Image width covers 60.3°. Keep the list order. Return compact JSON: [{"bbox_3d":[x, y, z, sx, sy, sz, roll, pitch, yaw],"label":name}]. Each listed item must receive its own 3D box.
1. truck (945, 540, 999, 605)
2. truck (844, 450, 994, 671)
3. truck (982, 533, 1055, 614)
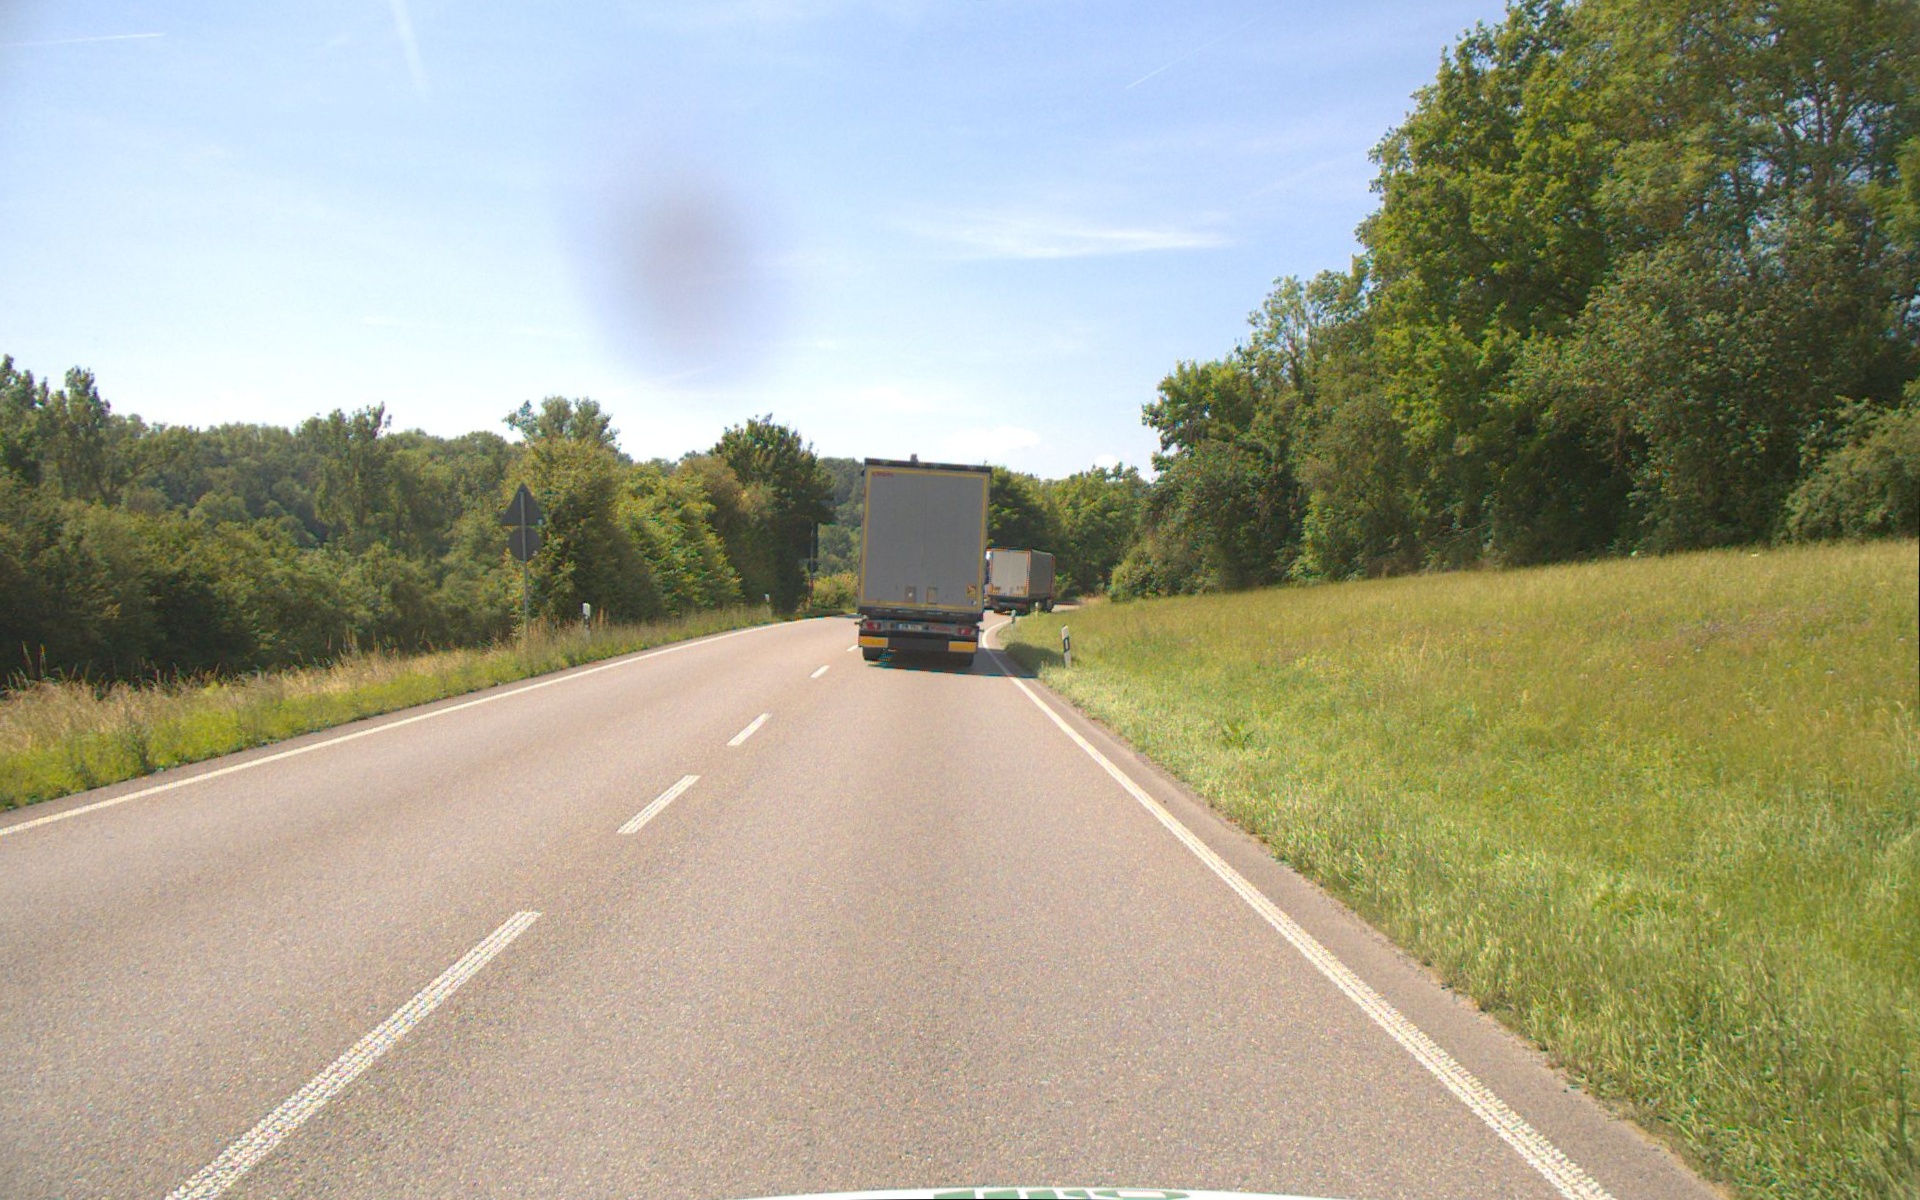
[{"bbox_3d":[0.890,-1.854,115.304,2.505,4.186,5.804,5,0,10],"label":"truck"},{"bbox_3d":[-0.938,-0.792,39.552,2.745,4.139,15.322,2,0,-1],"label":"truck"},{"bbox_3d":[4.034,-1.650,109.063,3.039,4.787,16.602,3,1,7],"label":"truck"}]
